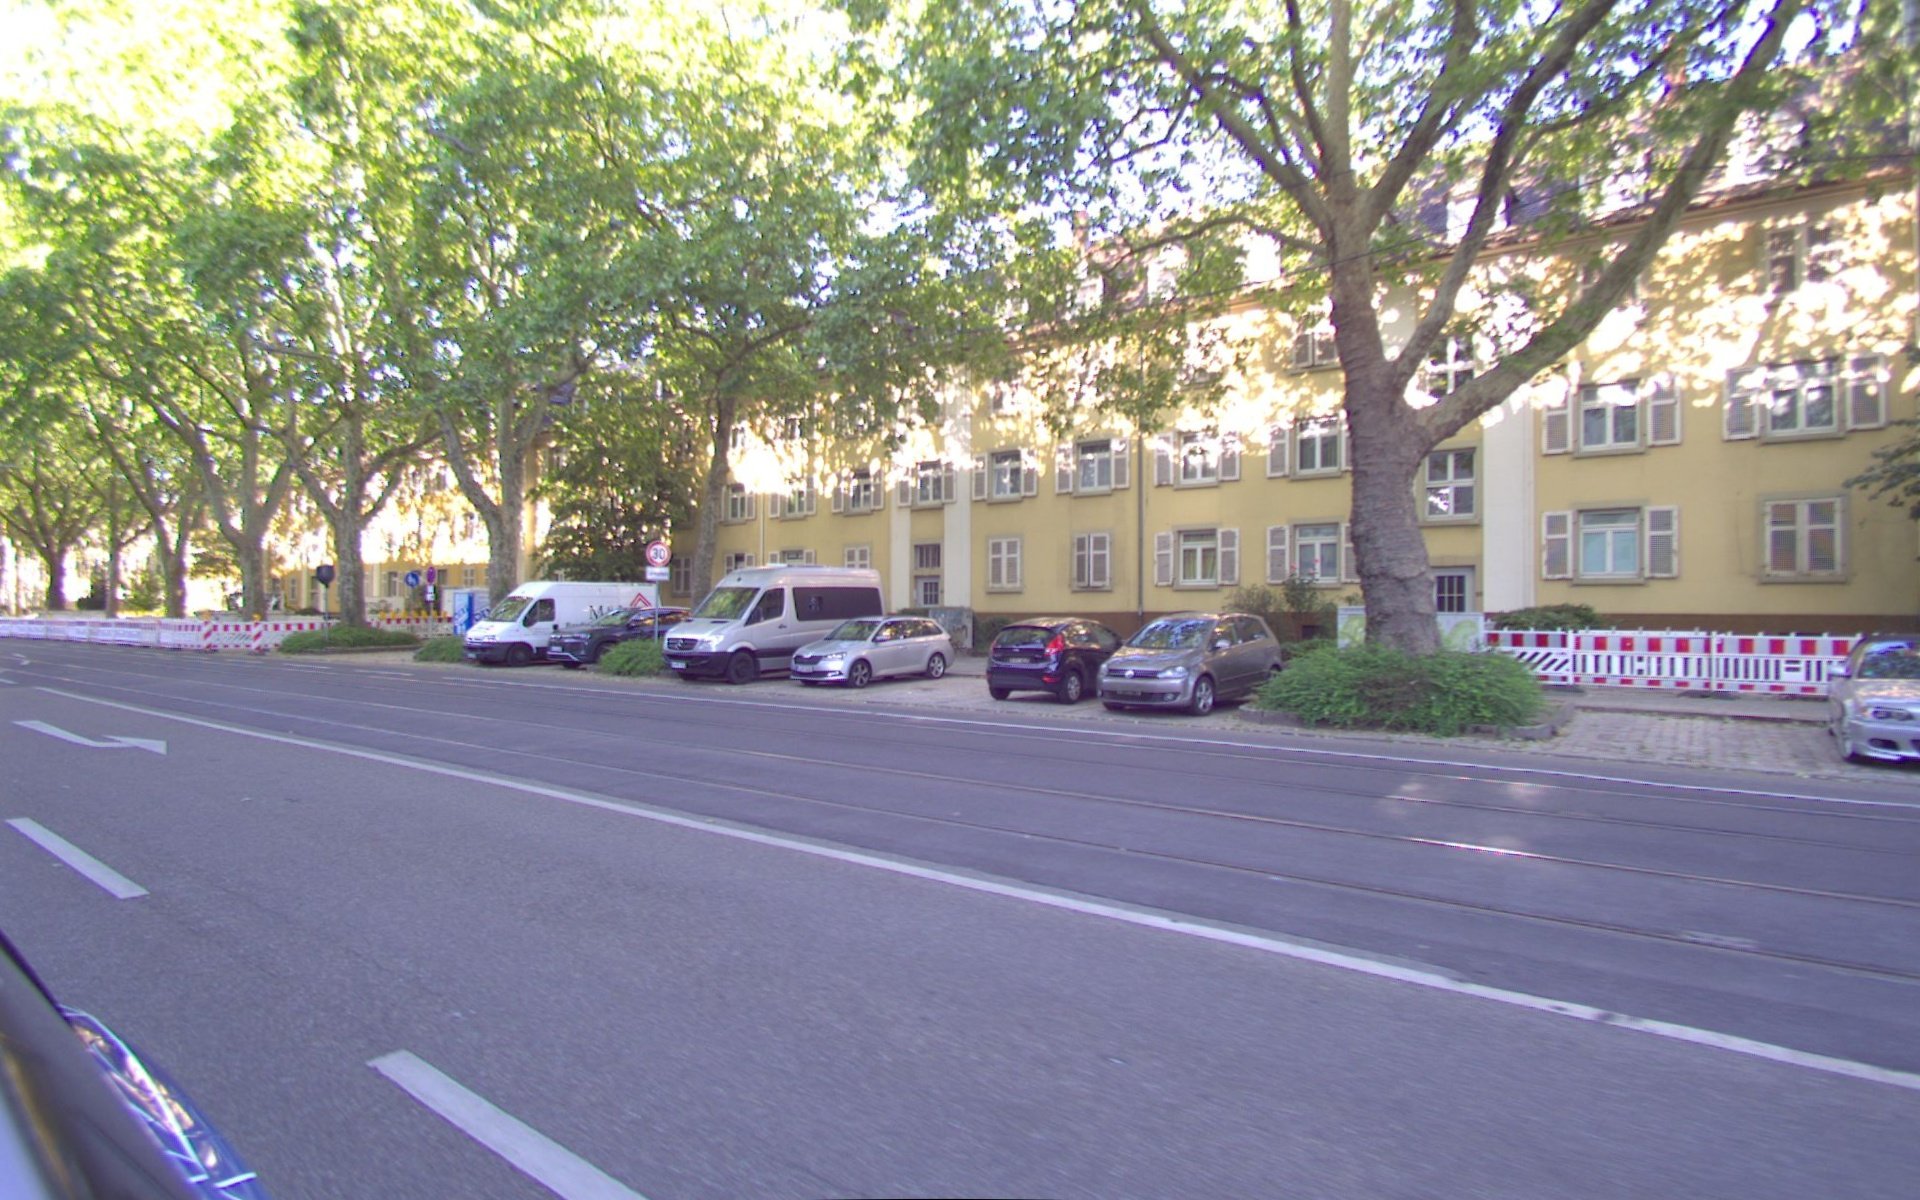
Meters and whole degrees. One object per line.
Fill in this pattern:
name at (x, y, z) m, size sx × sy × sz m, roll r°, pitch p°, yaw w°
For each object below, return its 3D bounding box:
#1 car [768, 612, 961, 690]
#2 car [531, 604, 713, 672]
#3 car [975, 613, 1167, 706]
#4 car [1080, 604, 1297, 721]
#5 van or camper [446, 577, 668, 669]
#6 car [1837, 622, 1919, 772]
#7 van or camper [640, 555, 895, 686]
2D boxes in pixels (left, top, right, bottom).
car at (-1.977, 1.022, 21.999) m, size 1.692 × 1.457 × 4.222 m, roll 0°, pitch 1°, yaw 40°
car at (-9.044, 0.947, 27.431) m, size 1.692 × 1.645 × 4.483 m, roll 0°, pitch 1°, yaw 40°
car at (2.132, 1.003, 18.636) m, size 1.692 × 1.457 × 3.812 m, roll 0°, pitch 1°, yaw 40°
car at (3.847, 0.897, 16.584) m, size 1.843 × 1.631 × 4.029 m, roll 0°, pitch 1°, yaw 40°
van or camper at (-11.528, 0.589, 29.348) m, size 2.154 × 2.403 × 5.692 m, roll 0°, pitch 1°, yaw 39°
car at (10.991, 0.990, 11.209) m, size 1.843 × 1.379 × 4.029 m, roll 0°, pitch 1°, yaw 40°
van or camper at (-4.264, 0.398, 23.512) m, size 2.154 × 2.668 × 5.858 m, roll 0°, pitch 1°, yaw 39°
